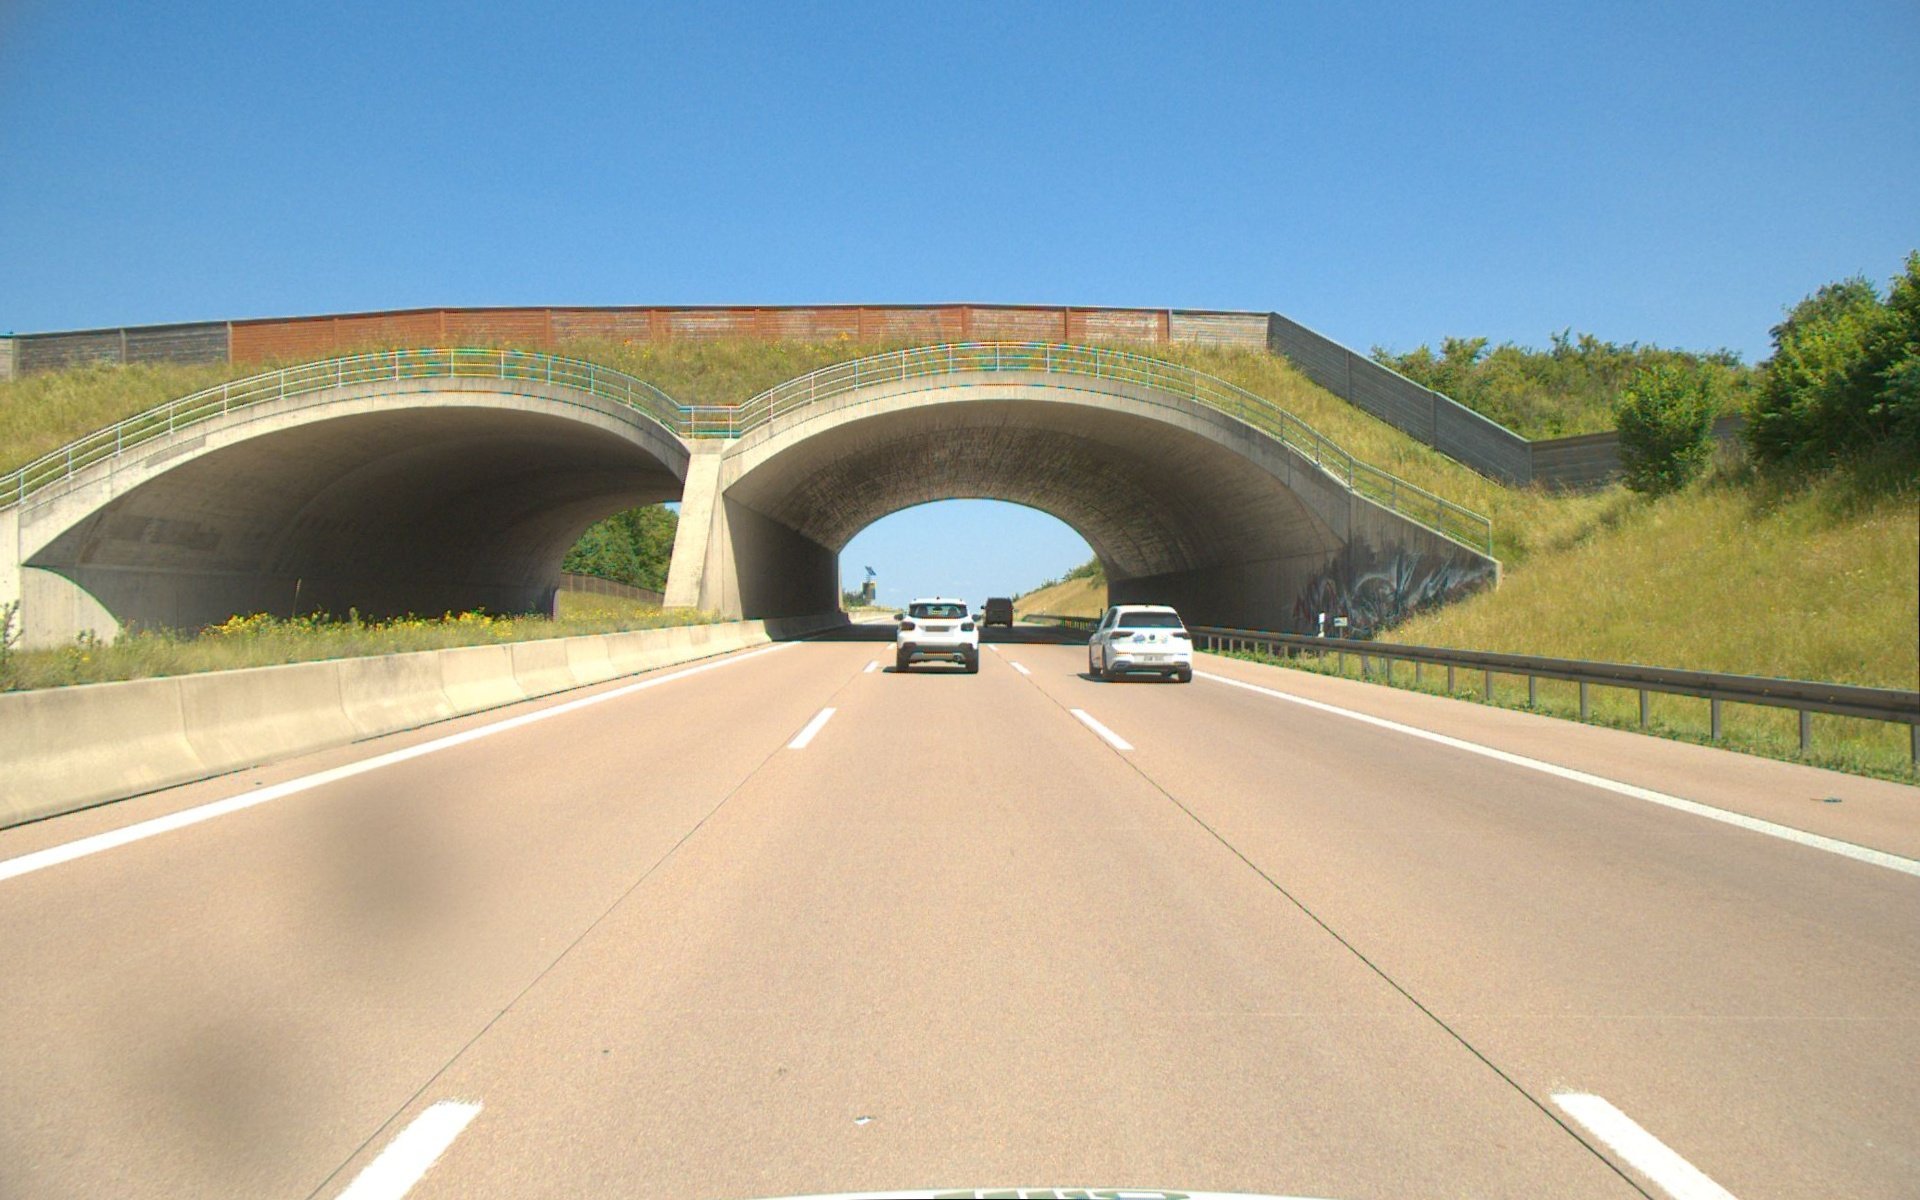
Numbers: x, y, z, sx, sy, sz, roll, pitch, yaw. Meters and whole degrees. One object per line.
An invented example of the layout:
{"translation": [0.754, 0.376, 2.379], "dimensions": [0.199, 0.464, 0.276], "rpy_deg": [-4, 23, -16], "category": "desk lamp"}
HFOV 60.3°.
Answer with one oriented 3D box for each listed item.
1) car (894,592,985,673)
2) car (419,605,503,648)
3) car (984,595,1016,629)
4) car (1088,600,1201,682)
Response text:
{"translation": [-0.461, 0.680, 36.266], "dimensions": [1.841, 1.635, 4.832], "rpy_deg": [1, 0, -1], "category": "car"}
{"translation": [-19.618, 1.019, 65.236], "dimensions": [1.852, 1.622, 4.977], "rpy_deg": [0, 0, -1], "category": "car"}
{"translation": [2.601, 0.786, 108.421], "dimensions": [2.067, 2.089, 4.001], "rpy_deg": [1, 1, 1], "category": "car"}
{"translation": [3.620, 0.772, 33.105], "dimensions": [1.852, 1.422, 4.001], "rpy_deg": [1, 1, 1], "category": "car"}
